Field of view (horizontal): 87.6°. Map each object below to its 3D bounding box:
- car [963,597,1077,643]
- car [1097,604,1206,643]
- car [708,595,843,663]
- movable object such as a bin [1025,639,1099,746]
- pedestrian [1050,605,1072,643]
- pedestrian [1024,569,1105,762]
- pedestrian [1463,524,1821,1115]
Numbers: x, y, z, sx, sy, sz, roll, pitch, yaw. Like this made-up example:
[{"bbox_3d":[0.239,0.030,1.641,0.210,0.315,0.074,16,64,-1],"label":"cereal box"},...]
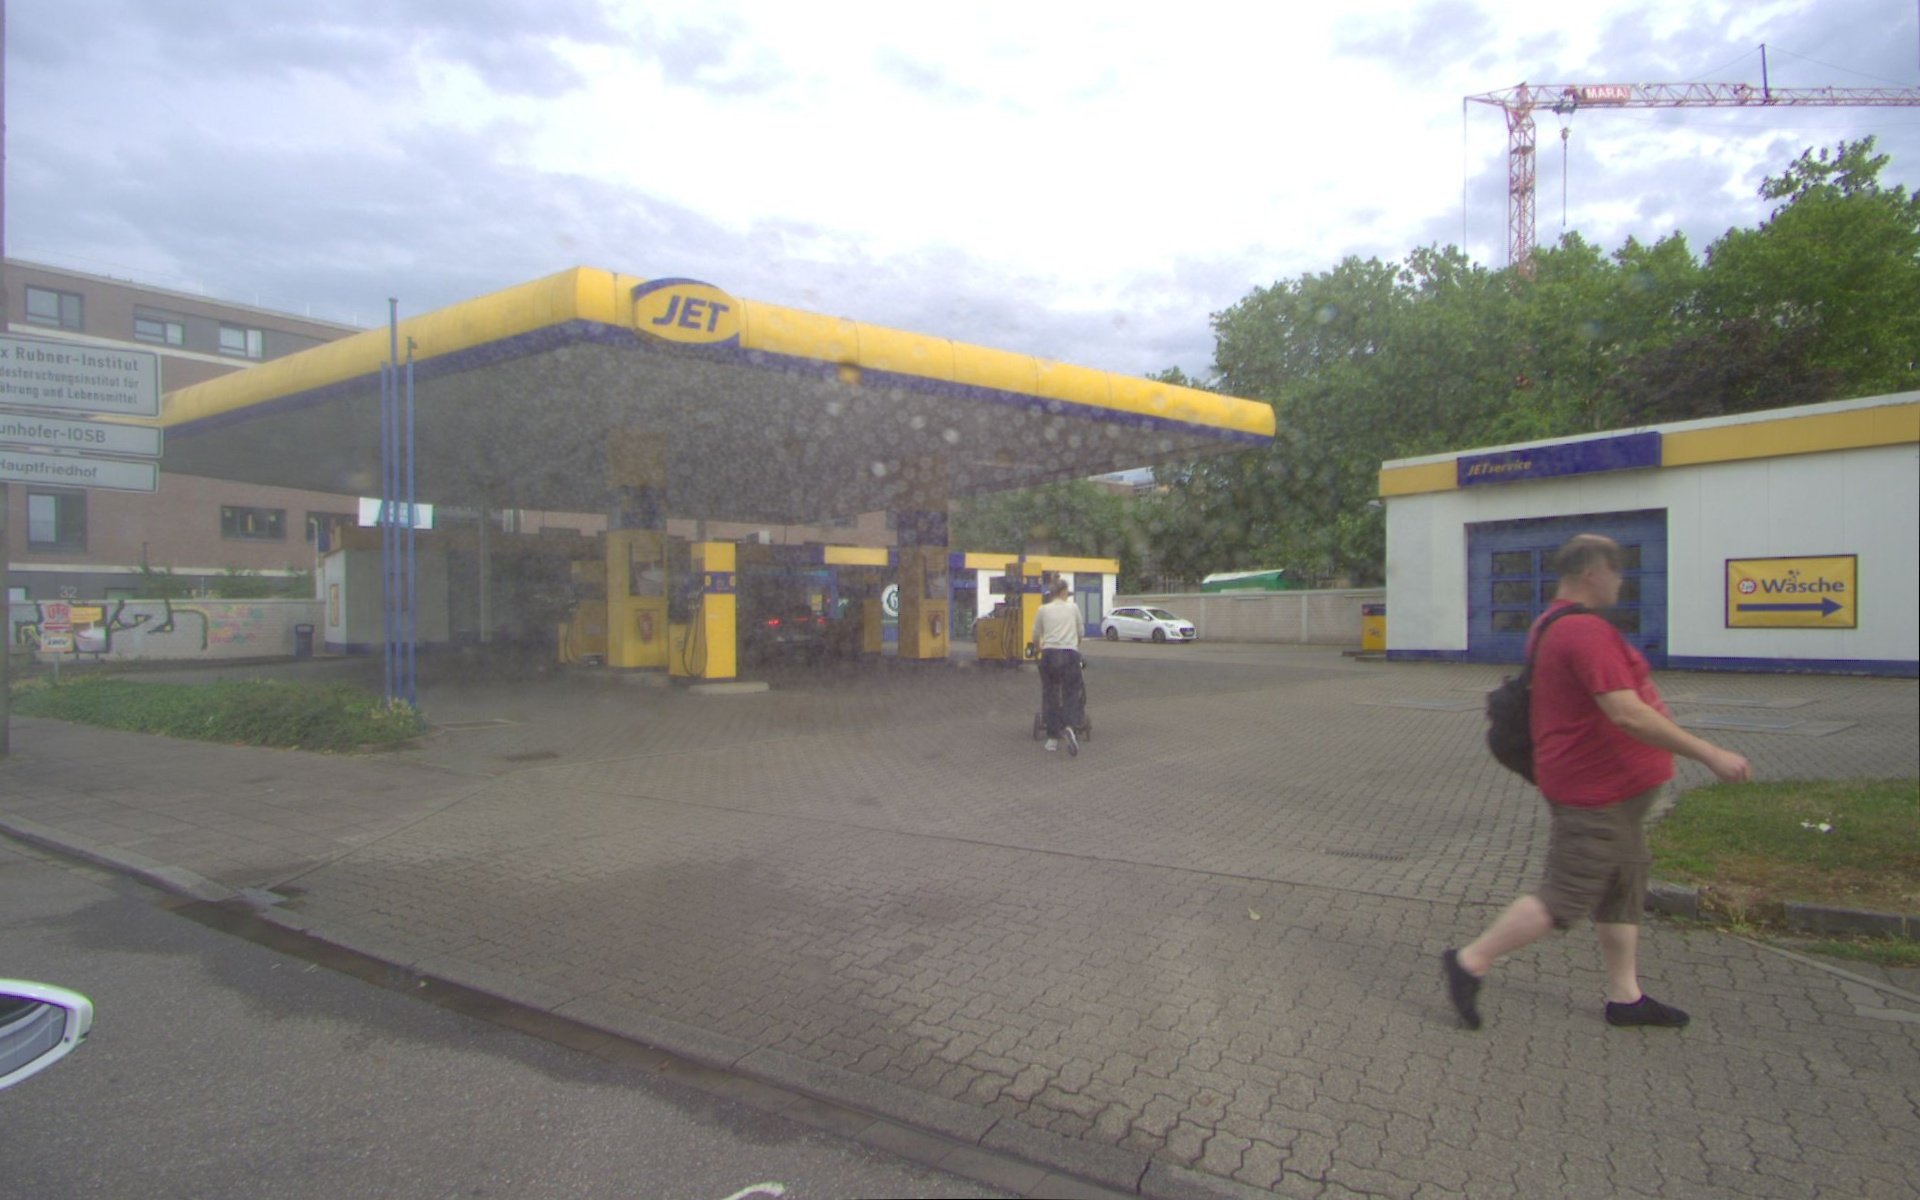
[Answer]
[{"bbox_3d":[2.248,0.806,38.484,1.821,1.658,4.440,2,-3,-41],"label":"car"},{"bbox_3d":[7.969,1.045,42.011,1.915,1.546,4.302,2,-3,-38],"label":"car"},{"bbox_3d":[-4.684,0.641,24.954,1.968,1.517,4.302,-1,1,-30],"label":"car"},{"bbox_3d":[1.090,0.982,10.947,0.755,1.053,1.023,0,2,3],"label":"movable object such as a bin"},{"bbox_3d":[3.693,0.887,36.610,0.573,1.364,0.607,1,-2,-38],"label":"pedestrian"},{"bbox_3d":[1.029,0.610,10.024,0.755,1.821,1.161,0,2,4],"label":"pedestrian"},{"bbox_3d":[2.332,0.658,3.579,0.847,1.762,0.972,-1,1,22],"label":"pedestrian"}]
